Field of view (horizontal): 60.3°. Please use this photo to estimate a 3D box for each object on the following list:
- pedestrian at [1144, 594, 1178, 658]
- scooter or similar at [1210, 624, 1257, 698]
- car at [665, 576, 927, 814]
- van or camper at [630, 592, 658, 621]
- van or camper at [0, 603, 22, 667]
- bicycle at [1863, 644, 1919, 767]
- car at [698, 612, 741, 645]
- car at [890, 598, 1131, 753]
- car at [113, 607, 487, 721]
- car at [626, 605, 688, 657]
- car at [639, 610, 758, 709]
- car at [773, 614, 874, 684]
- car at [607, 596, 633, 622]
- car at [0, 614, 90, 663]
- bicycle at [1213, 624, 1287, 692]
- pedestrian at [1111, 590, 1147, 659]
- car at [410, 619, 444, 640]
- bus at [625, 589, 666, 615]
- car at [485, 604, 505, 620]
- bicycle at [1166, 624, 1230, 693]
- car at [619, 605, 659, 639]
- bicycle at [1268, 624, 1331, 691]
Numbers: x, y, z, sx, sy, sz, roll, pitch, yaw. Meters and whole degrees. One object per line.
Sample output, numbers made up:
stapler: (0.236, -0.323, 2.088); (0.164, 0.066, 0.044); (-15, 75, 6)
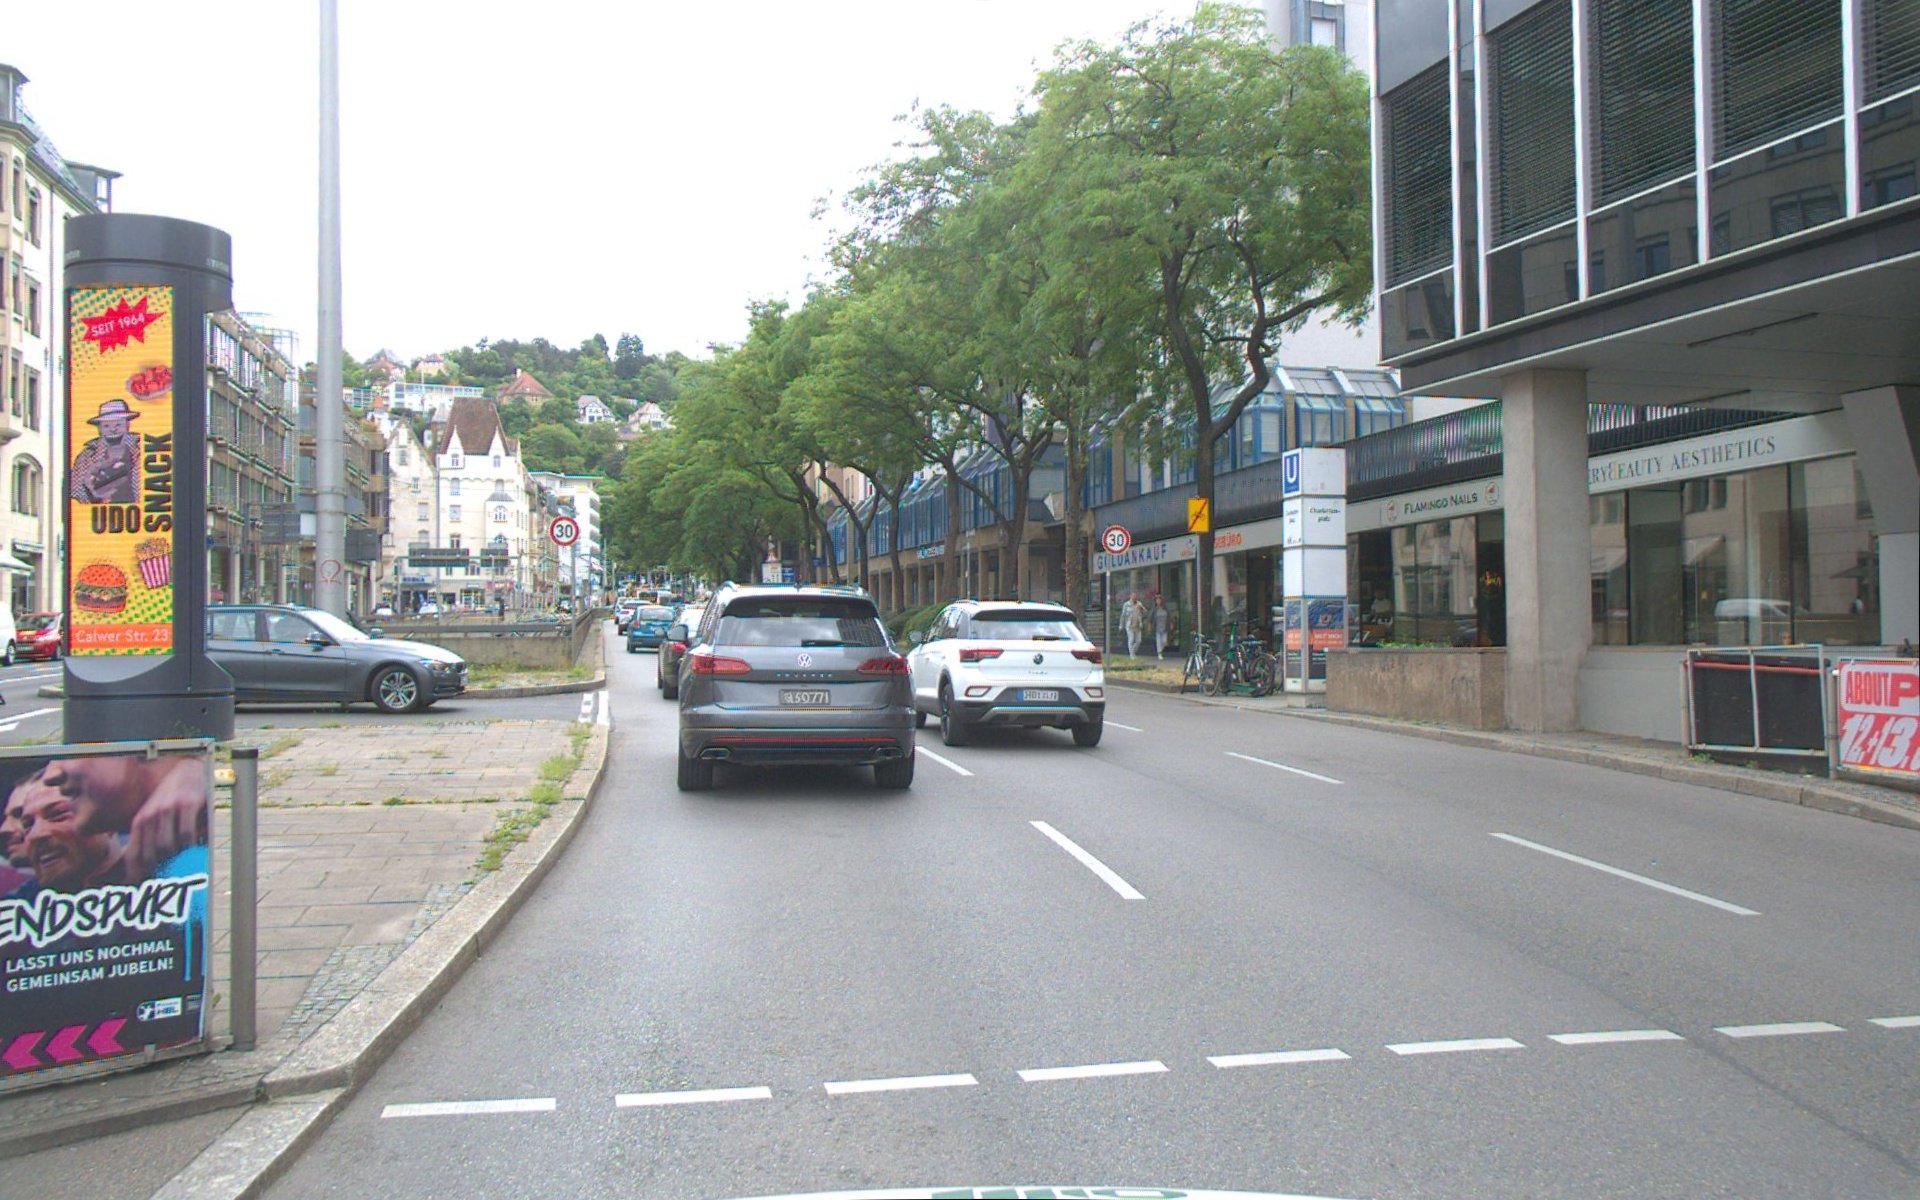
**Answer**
pedestrian: (5.301, 0.669, 43.658); (0.586, 1.657, 0.753); (-1, 0, -18)
scooter or similar: (4.782, 1.056, 28.987); (0.302, 1.273, 0.988); (0, -1, -25)
car: (-1.514, 0.703, 14.582); (1.933, 1.725, 4.217); (-2, 0, -8)
van or camper: (-35.545, 0.690, 186.081); (2.585, 3.234, 5.776); (0, 0, -16)
van or camper: (-27.206, 0.962, 44.910); (1.836, 1.782, 4.471); (0, 0, -14)
bicycle: (8.941, 0.944, 14.692); (0.705, 1.066, 1.469); (0, 0, -33)
car: (-10.782, 1.267, 74.261); (1.797, 1.387, 3.761); (-1, 0, -7)
car: (0.461, 0.797, 19.194); (1.767, 1.572, 3.921); (1, 0, -14)
car: (-9.090, 0.855, 23.090); (4.461, 1.484, 1.879); (0, 0, -5)
car: (-9.598, 0.954, 52.208); (1.800, 1.544, 3.755); (-1, 0, -12)
car: (-4.318, 0.925, 27.526); (1.799, 1.420, 4.140); (0, 1, -9)
car: (-3.337, 1.130, 39.702); (1.802, 1.457, 4.133); (0, 1, -14)
car: (-25.497, 0.682, 124.113); (1.799, 1.907, 4.857); (-1, 0, -11)
car: (-28.593, 1.174, 51.587); (1.757, 1.430, 3.570); (-1, 0, -14)
bicycle: (5.141, 1.016, 29.417); (0.482, 1.152, 1.877); (0, 0, -18)
pedestrian: (4.427, 0.630, 43.378); (0.586, 1.784, 0.936); (-1, 0, -18)
car: (-42.840, 2.354, 132.988); (1.957, 1.613, 4.875); (-1, -1, -10)
bus: (-44.069, 0.287, 232.197); (3.774, 3.594, 17.227); (0, 0, -5)
car: (-55.833, 1.415, 198.613); (1.959, 1.799, 4.267); (0, 0, -12)
bicycle: (4.190, 1.019, 29.282); (0.481, 1.152, 1.837); (0, 0, -13)
car: (-15.530, 1.053, 79.948); (1.800, 1.594, 3.755); (-1, 0, -13)
bicycle: (6.029, 1.004, 29.445); (0.481, 1.152, 1.683); (0, 0, -12)
